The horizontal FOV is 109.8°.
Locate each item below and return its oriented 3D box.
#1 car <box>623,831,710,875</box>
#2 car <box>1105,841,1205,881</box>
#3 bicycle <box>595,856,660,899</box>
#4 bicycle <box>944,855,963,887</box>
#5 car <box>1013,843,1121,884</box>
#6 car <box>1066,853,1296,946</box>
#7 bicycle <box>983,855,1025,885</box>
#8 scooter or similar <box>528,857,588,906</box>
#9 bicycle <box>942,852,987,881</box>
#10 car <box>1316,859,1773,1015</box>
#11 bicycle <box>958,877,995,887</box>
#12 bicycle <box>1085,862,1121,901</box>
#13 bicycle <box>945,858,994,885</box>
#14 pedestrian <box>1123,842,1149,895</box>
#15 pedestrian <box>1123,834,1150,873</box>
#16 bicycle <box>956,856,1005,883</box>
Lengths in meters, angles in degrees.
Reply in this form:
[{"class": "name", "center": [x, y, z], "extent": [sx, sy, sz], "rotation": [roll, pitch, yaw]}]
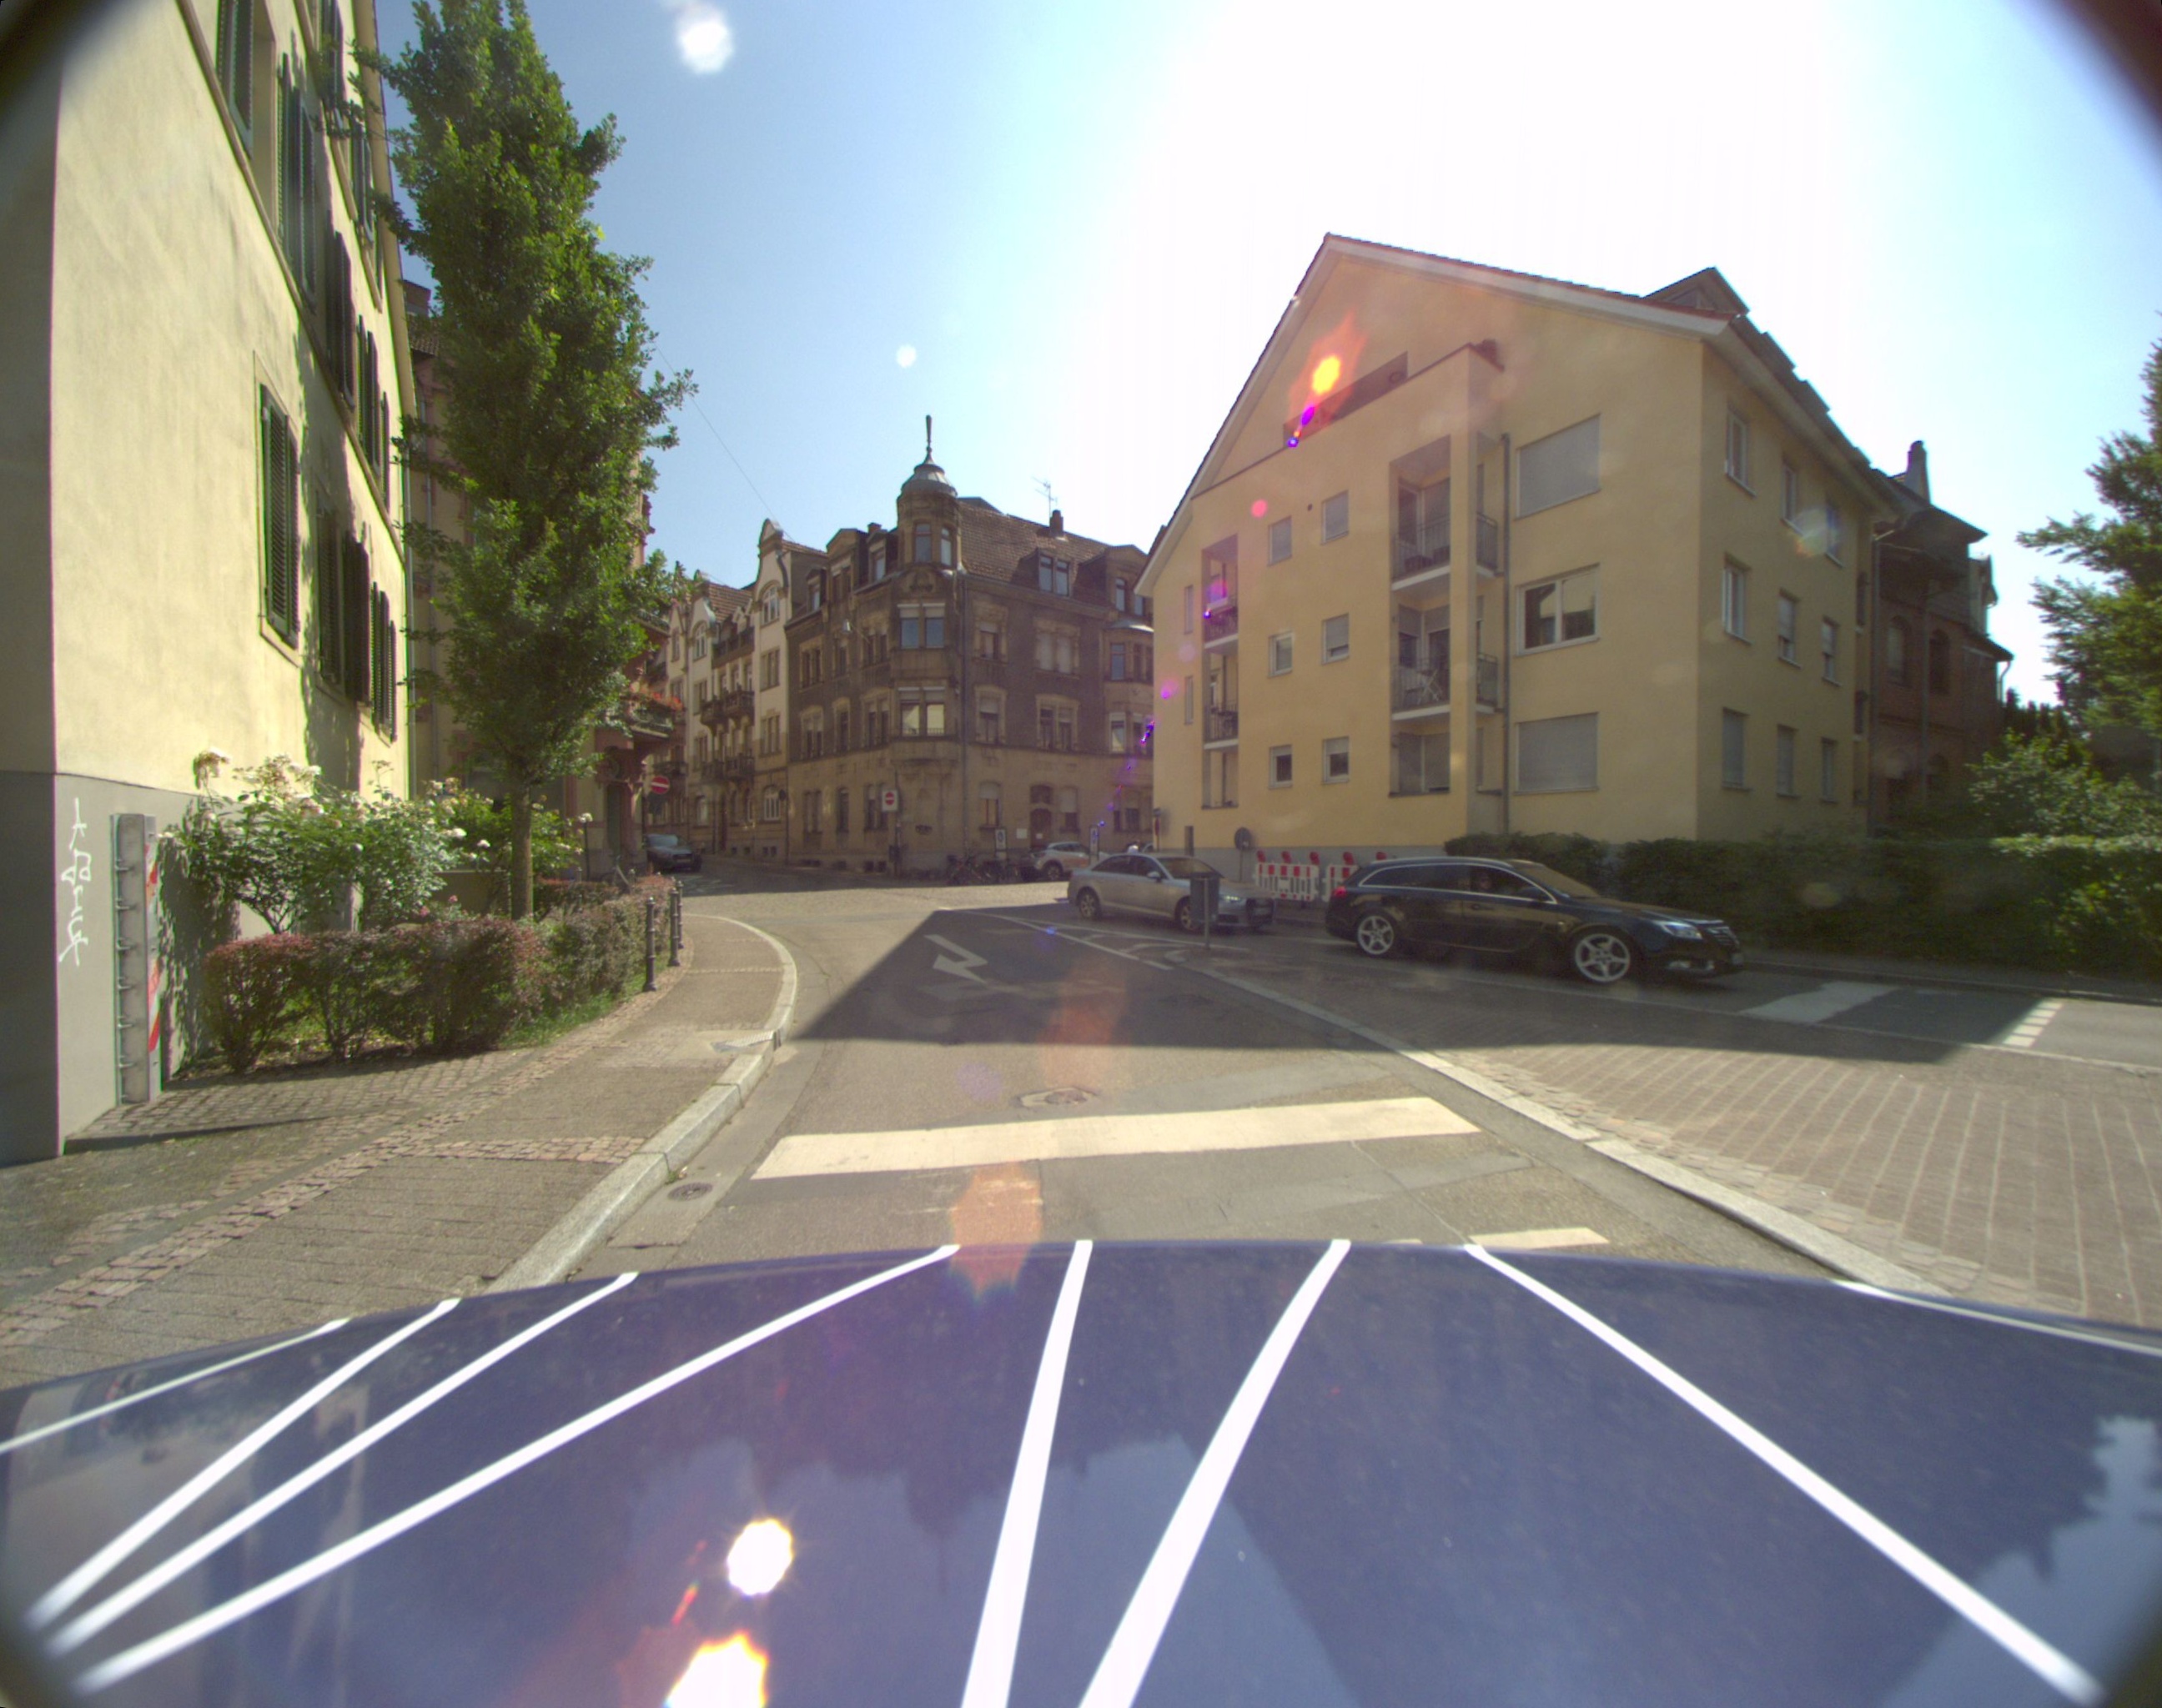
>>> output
[{"class": "car", "center": [-17.246, -0.092, 31.526], "extent": [4.246, 1.574, 1.866], "rotation": [3, 5, 43]}, {"class": "car", "center": [3.210, 0.273, 32.648], "extent": [4.007, 1.535, 1.848], "rotation": [-2, 1, -35]}, {"class": "bicycle", "center": [-12.780, 0.650, 21.405], "extent": [1.789, 1.140, 0.506], "rotation": [1, 1, 18]}, {"class": "bicycle", "center": [-4.638, 0.601, 27.615], "extent": [0.286, 1.080, 1.639], "rotation": [-4, 2, -22]}, {"class": "car", "center": [-0.522, 0.320, 30.050], "extent": [3.936, 1.535, 1.847], "rotation": [-1, 1, -37]}, {"class": "car", "center": [1.787, 0.751, 14.864], "extent": [1.881, 1.484, 4.370], "rotation": [-1, 1, -38]}, {"class": "bicycle", "center": [-2.847, 0.609, 28.148], "extent": [1.638, 1.079, 0.286], "rotation": [-2, -2, 26]}, {"class": "scooter or similar", "center": [-13.601, 0.696, 19.789], "extent": [0.441, 1.228, 1.193], "rotation": [1, 2, 40]}, {"class": "bicycle", "center": [-4.596, 0.485, 30.003], "extent": [1.645, 1.080, 0.494], "rotation": [0, 5, -36]}, {"class": "car", "center": [5.600, 0.849, 9.832], "extent": [1.723, 1.453, 4.711], "rotation": [2, 0, -38]}, {"class": "bicycle", "center": [-3.824, 1.019, 27.717], "extent": [1.080, 0.286, 1.121], "rotation": [0, 1, -22]}, {"class": "bicycle", "center": [0.634, 0.793, 22.609], "extent": [0.392, 1.073, 1.906], "rotation": [0, 1, -19]}, {"class": "bicycle", "center": [-4.107, 0.647, 27.986], "extent": [1.637, 1.084, 0.285], "rotation": [2, 46, 43]}, {"class": "pedestrian", "center": [1.723, 0.446, 23.910], "extent": [0.658, 1.609, 0.492], "rotation": [-1, 2, -24]}, {"class": "pedestrian", "center": [2.535, -0.030, 34.563], "extent": [0.982, 1.749, 0.621], "rotation": [-2, 6, -37]}, {"class": "bicycle", "center": [-3.757, 0.573, 28.339], "extent": [1.637, 1.084, 0.285], "rotation": [2, 46, 43]}]
